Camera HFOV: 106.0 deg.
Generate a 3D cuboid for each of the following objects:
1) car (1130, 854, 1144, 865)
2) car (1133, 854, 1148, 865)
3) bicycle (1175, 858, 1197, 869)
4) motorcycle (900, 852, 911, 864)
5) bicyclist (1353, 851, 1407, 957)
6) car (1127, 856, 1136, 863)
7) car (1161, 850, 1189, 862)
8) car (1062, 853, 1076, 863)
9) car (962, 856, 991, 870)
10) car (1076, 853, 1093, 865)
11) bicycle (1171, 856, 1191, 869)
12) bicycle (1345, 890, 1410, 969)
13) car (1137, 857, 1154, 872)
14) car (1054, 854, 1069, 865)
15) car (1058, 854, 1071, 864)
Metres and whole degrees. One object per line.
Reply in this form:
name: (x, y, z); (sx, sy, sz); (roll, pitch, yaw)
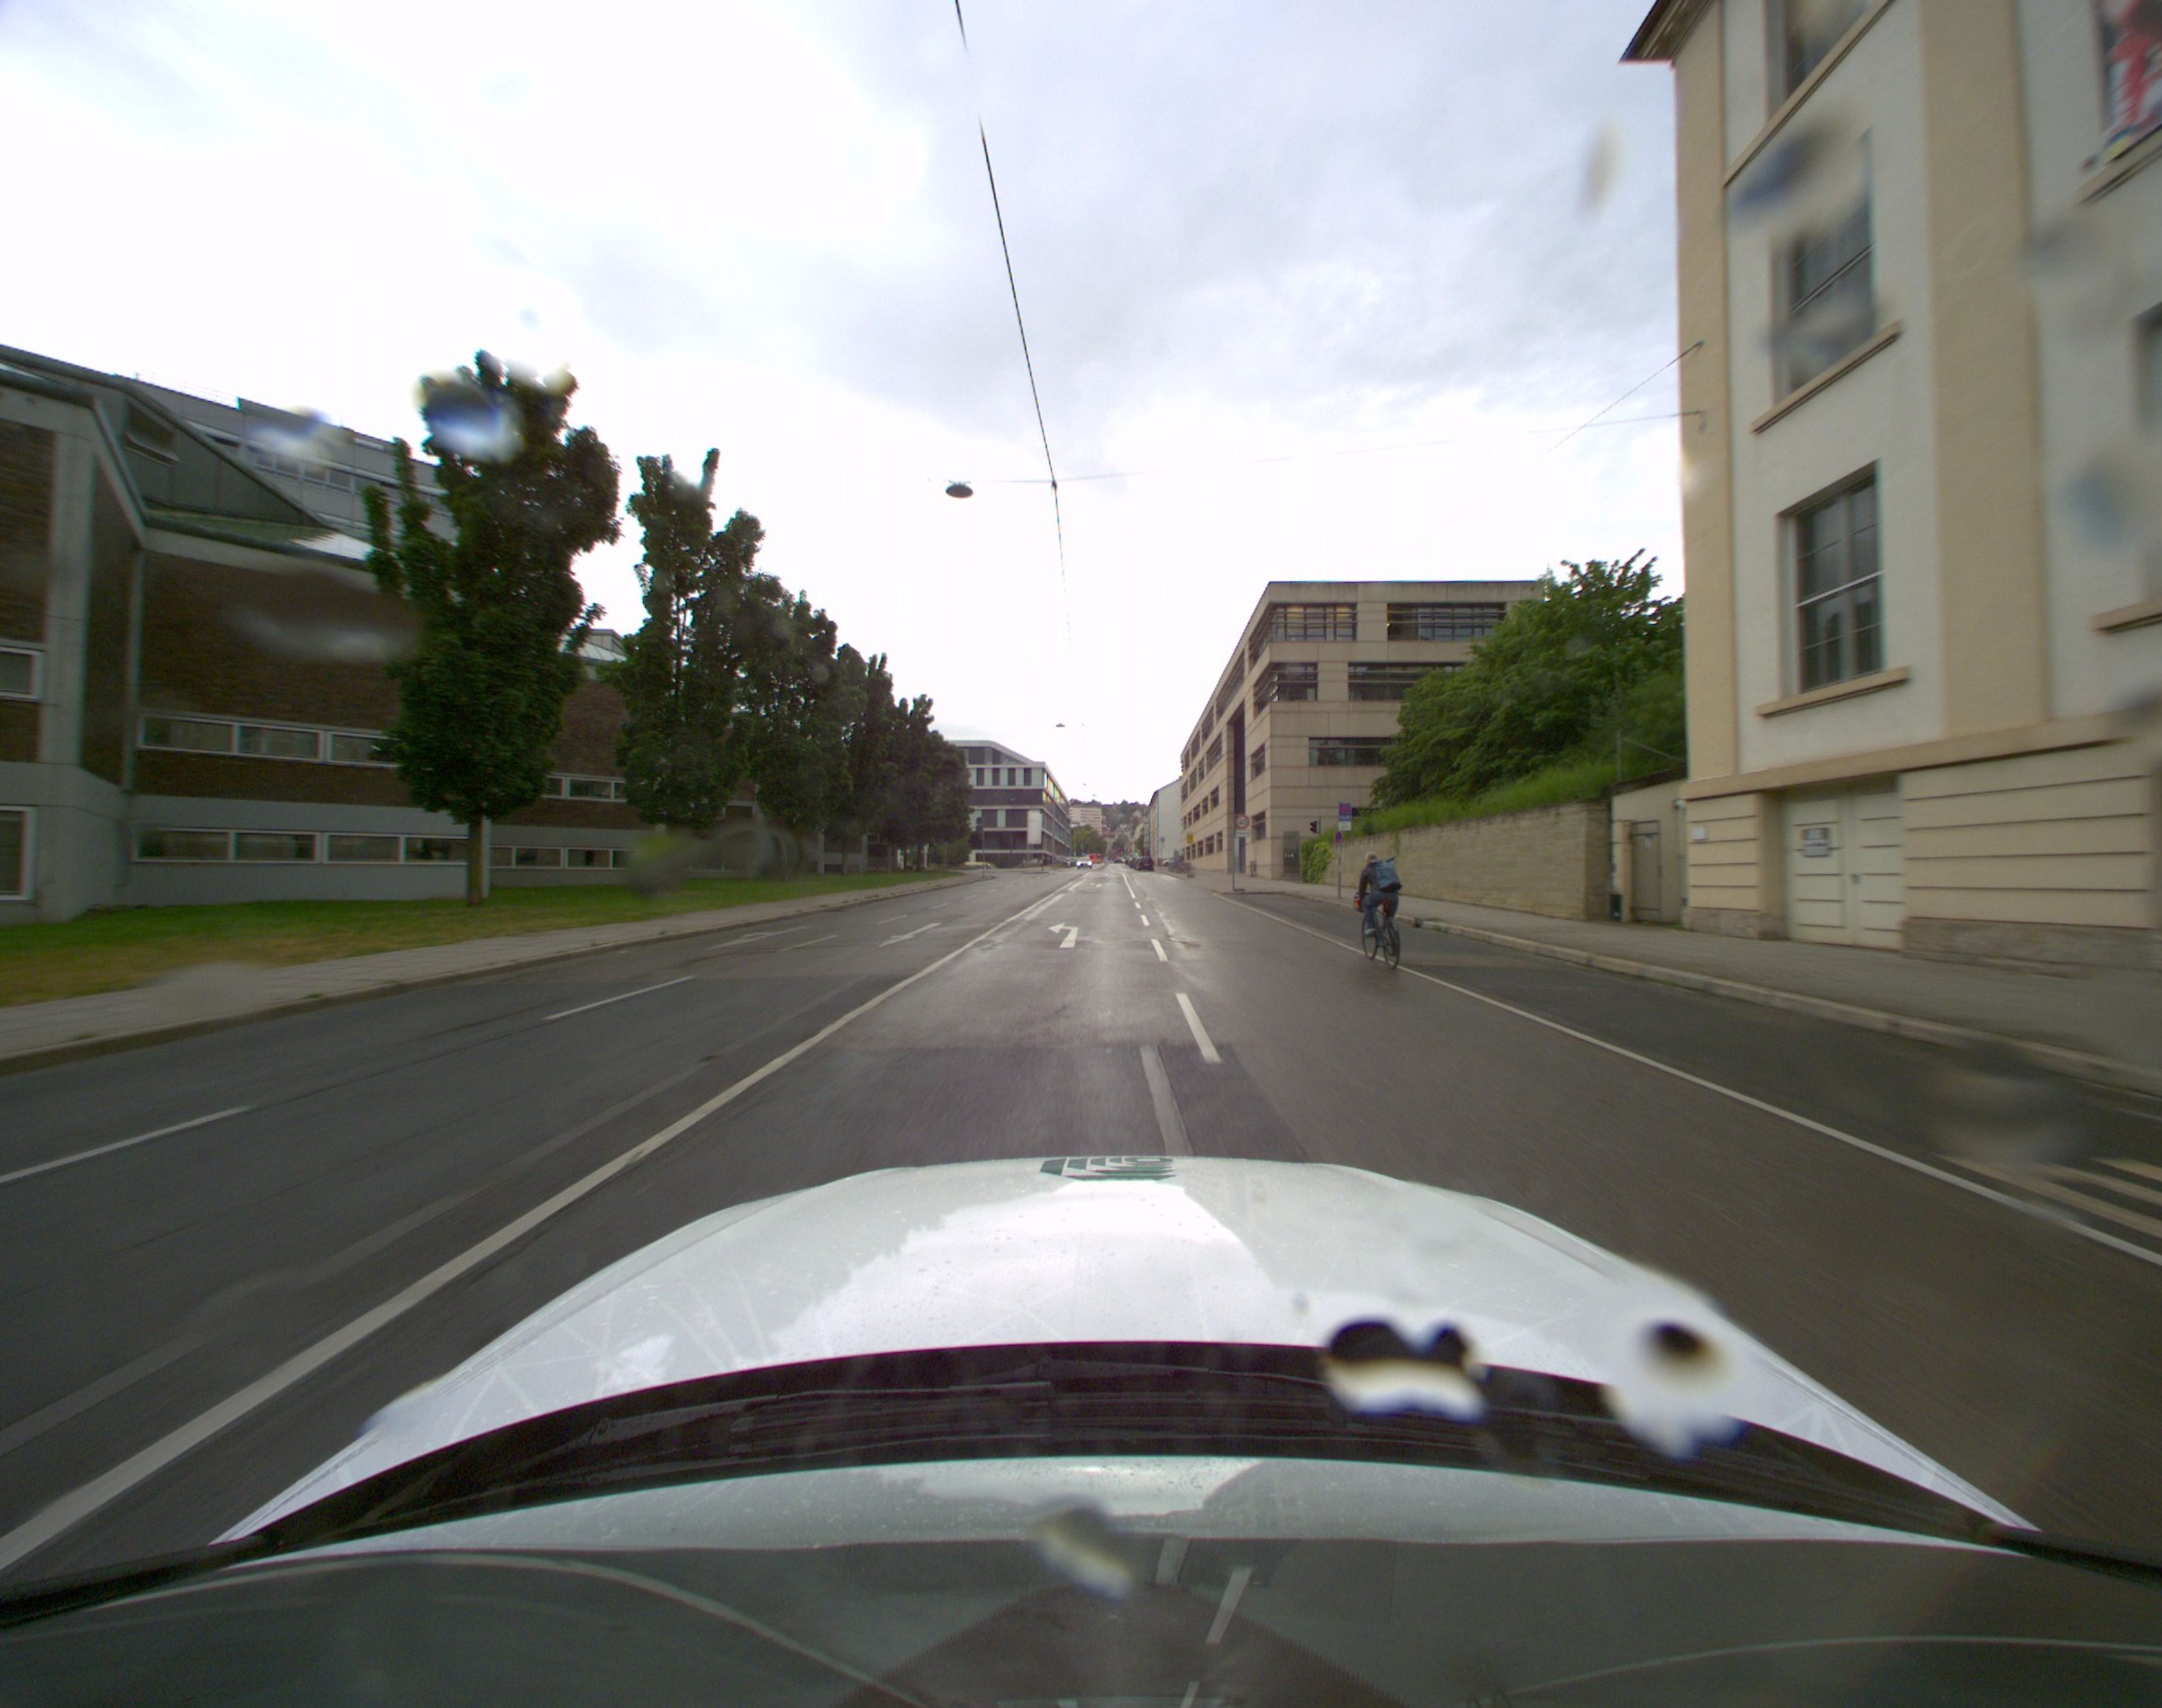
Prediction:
car: (8.739, 0.843, 127.448); (1.928, 1.750, 4.799); (1, 0, 2)
car: (8.030, 0.749, 110.770); (1.737, 1.533, 4.320); (1, 0, 1)
bicycle: (9.134, 0.827, 70.892); (1.753, 0.953, 0.659); (0, -1, -1)
motorcycle: (-18.763, 0.429, 87.057); (1.212, 1.185, 0.415); (0, -1, 40)
bicyclist: (4.222, 0.683, 11.529); (0.482, 1.433, 0.931); (1, -1, 4)
car: (10.089, 1.064, 161.796); (1.700, 1.454, 3.986); (1, 0, 2)
car: (15.608, 0.329, 135.983); (4.422, 1.713, 1.905); (-3, -1, 1)
car: (-1.974, 0.665, 139.953); (1.954, 1.750, 4.948); (1, 0, 5)
car: (-17.405, 1.520, 135.863); (4.581, 2.174, 1.928); (1, -1, -4)
car: (0.475, 0.678, 108.534); (1.873, 1.491, 5.226); (-2, 0, 5)
bicycle: (8.821, 0.759, 71.883); (1.725, 1.119, 0.659); (0, -1, -4)
bicycle: (4.226, 1.044, 11.694); (0.445, 0.963, 1.692); (0, 0, 4)
car: (7.487, 1.217, 94.774); (1.765, 1.604, 4.395); (1, 0, 1)
car: (-2.947, 0.802, 123.116); (1.842, 1.617, 4.493); (1, 0, 2)
car: (-2.641, 0.792, 129.817); (1.814, 1.419, 4.405); (1, 0, 2)
